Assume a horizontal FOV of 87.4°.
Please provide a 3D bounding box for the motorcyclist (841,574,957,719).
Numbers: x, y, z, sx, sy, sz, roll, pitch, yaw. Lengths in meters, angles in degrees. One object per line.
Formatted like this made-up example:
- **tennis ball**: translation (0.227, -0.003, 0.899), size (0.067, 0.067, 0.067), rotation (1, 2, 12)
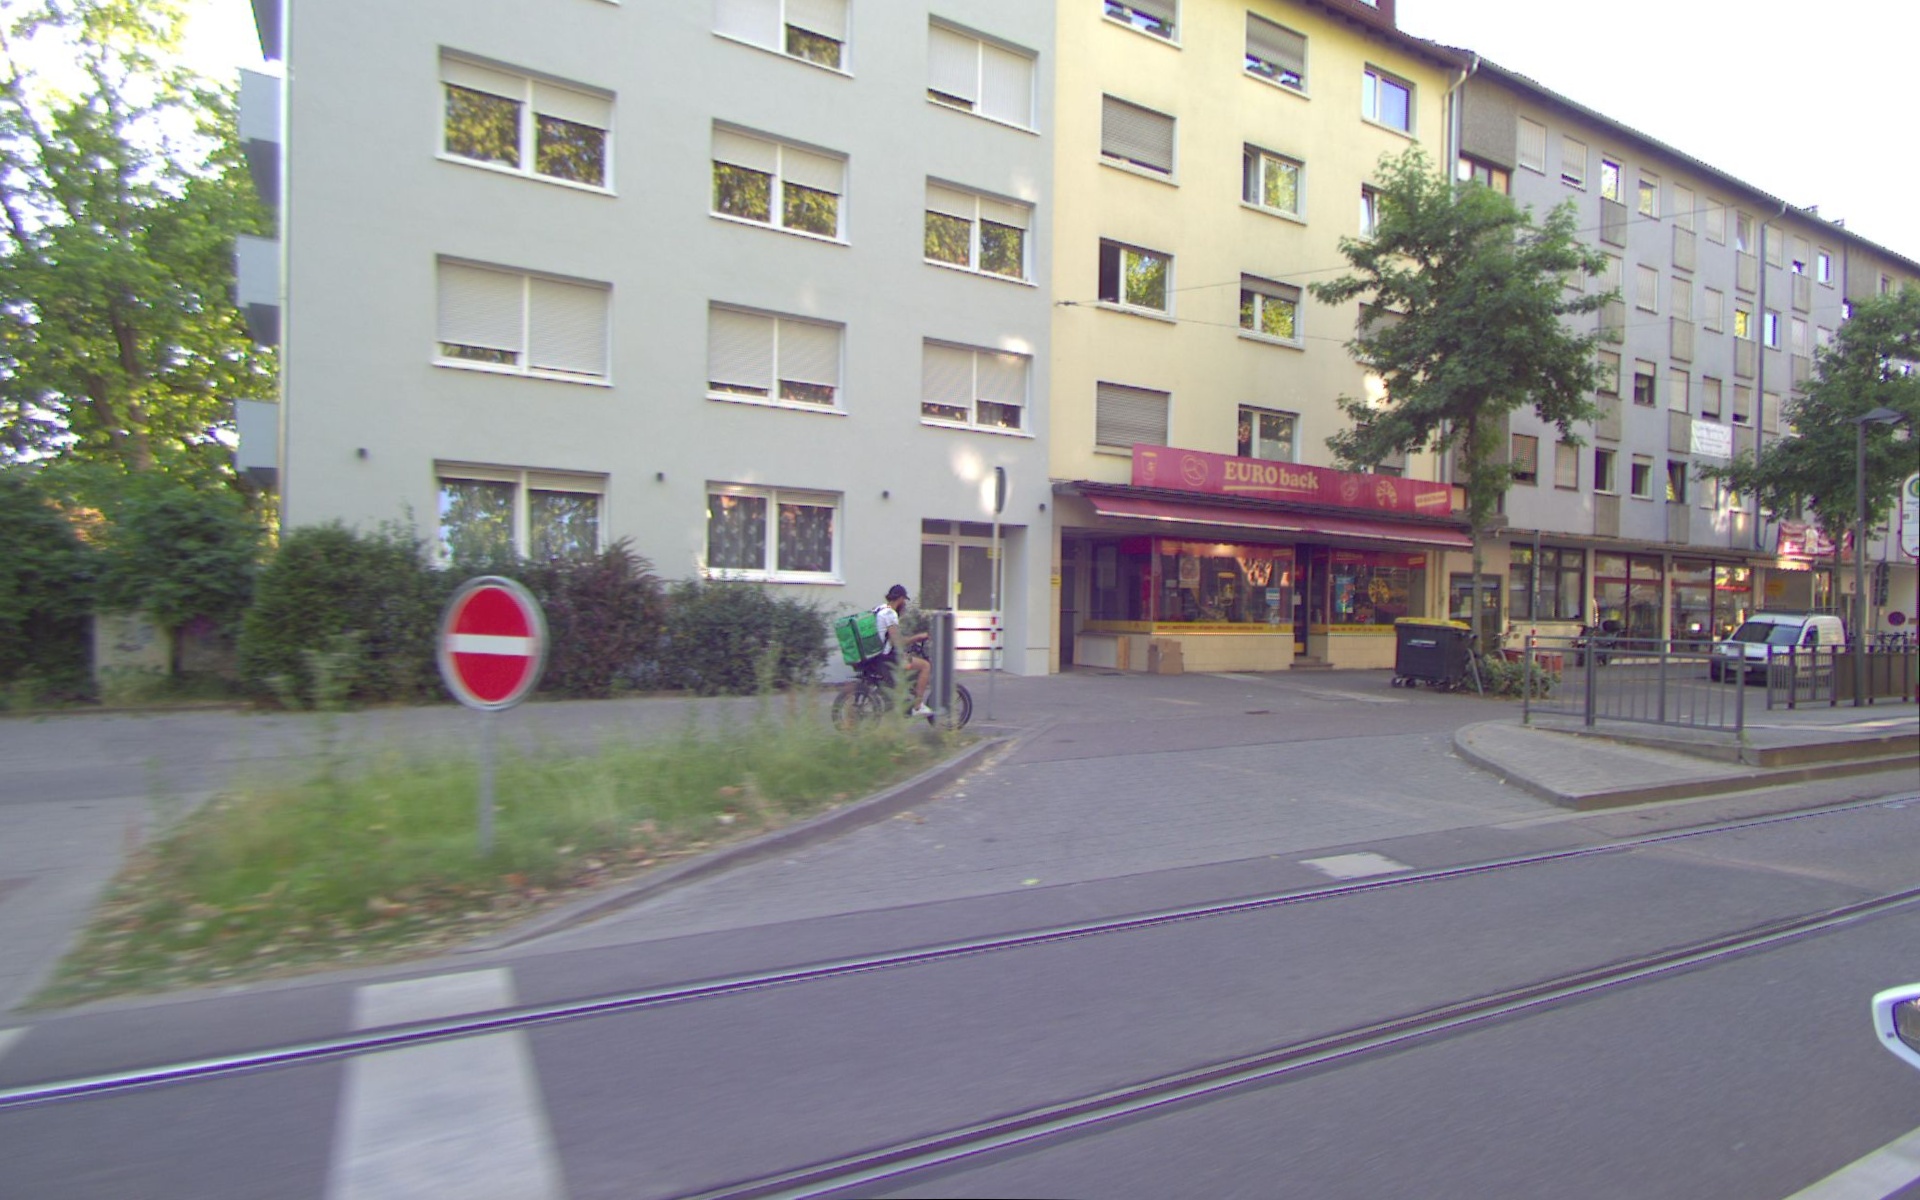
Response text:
- **motorcyclist**: translation (-0.651, 0.495, 10.755), size (1.090, 1.468, 0.593), rotation (1, -2, -29)

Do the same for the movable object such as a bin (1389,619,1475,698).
- **movable object such as a bin**: translation (8.968, 1.091, 19.100), size (0.775, 1.366, 1.163), rotation (1, 3, -33)

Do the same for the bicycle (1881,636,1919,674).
- **bicycle**: translation (30.076, 1.773, 31.055), size (0.628, 1.088, 2.243), rotation (1, 3, -27)

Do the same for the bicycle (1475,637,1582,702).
- **bicycle**: translation (11.044, 1.324, 19.555), size (0.875, 1.089, 1.526), rotation (1, 3, -30)

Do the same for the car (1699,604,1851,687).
- **car**: translation (20.596, 1.122, 25.353), size (3.953, 1.966, 1.680), rotation (2, -1, -30)

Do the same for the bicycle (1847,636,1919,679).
- **bicycle**: translation (27.928, 1.713, 29.851), size (0.628, 1.088, 2.243), rotation (1, 3, -27)

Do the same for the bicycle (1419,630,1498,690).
- **bicycle**: translation (9.989, 1.186, 20.115), size (1.780, 1.122, 0.495), rotation (2, 3, -33)

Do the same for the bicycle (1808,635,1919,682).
- **bicycle**: translation (25.513, 1.636, 28.396), size (0.628, 1.088, 2.243), rotation (1, 3, -27)

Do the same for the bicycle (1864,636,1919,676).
- **bicycle**: translation (28.991, 1.739, 30.438), size (0.628, 1.088, 2.243), rotation (1, 3, -27)

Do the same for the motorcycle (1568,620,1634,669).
- **motorcycle**: translation (17.845, 1.231, 27.950), size (2.196, 1.328, 0.596), rotation (2, -1, -30)

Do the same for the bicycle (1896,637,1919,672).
- **bicycle**: translation (31.498, 1.820, 32.051), size (0.628, 1.088, 2.243), rotation (1, 3, -27)

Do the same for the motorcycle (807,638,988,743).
- **motorcycle**: translation (-0.648, 0.932, 10.733), size (1.854, 1.046, 0.593), rotation (2, -2, -29)
